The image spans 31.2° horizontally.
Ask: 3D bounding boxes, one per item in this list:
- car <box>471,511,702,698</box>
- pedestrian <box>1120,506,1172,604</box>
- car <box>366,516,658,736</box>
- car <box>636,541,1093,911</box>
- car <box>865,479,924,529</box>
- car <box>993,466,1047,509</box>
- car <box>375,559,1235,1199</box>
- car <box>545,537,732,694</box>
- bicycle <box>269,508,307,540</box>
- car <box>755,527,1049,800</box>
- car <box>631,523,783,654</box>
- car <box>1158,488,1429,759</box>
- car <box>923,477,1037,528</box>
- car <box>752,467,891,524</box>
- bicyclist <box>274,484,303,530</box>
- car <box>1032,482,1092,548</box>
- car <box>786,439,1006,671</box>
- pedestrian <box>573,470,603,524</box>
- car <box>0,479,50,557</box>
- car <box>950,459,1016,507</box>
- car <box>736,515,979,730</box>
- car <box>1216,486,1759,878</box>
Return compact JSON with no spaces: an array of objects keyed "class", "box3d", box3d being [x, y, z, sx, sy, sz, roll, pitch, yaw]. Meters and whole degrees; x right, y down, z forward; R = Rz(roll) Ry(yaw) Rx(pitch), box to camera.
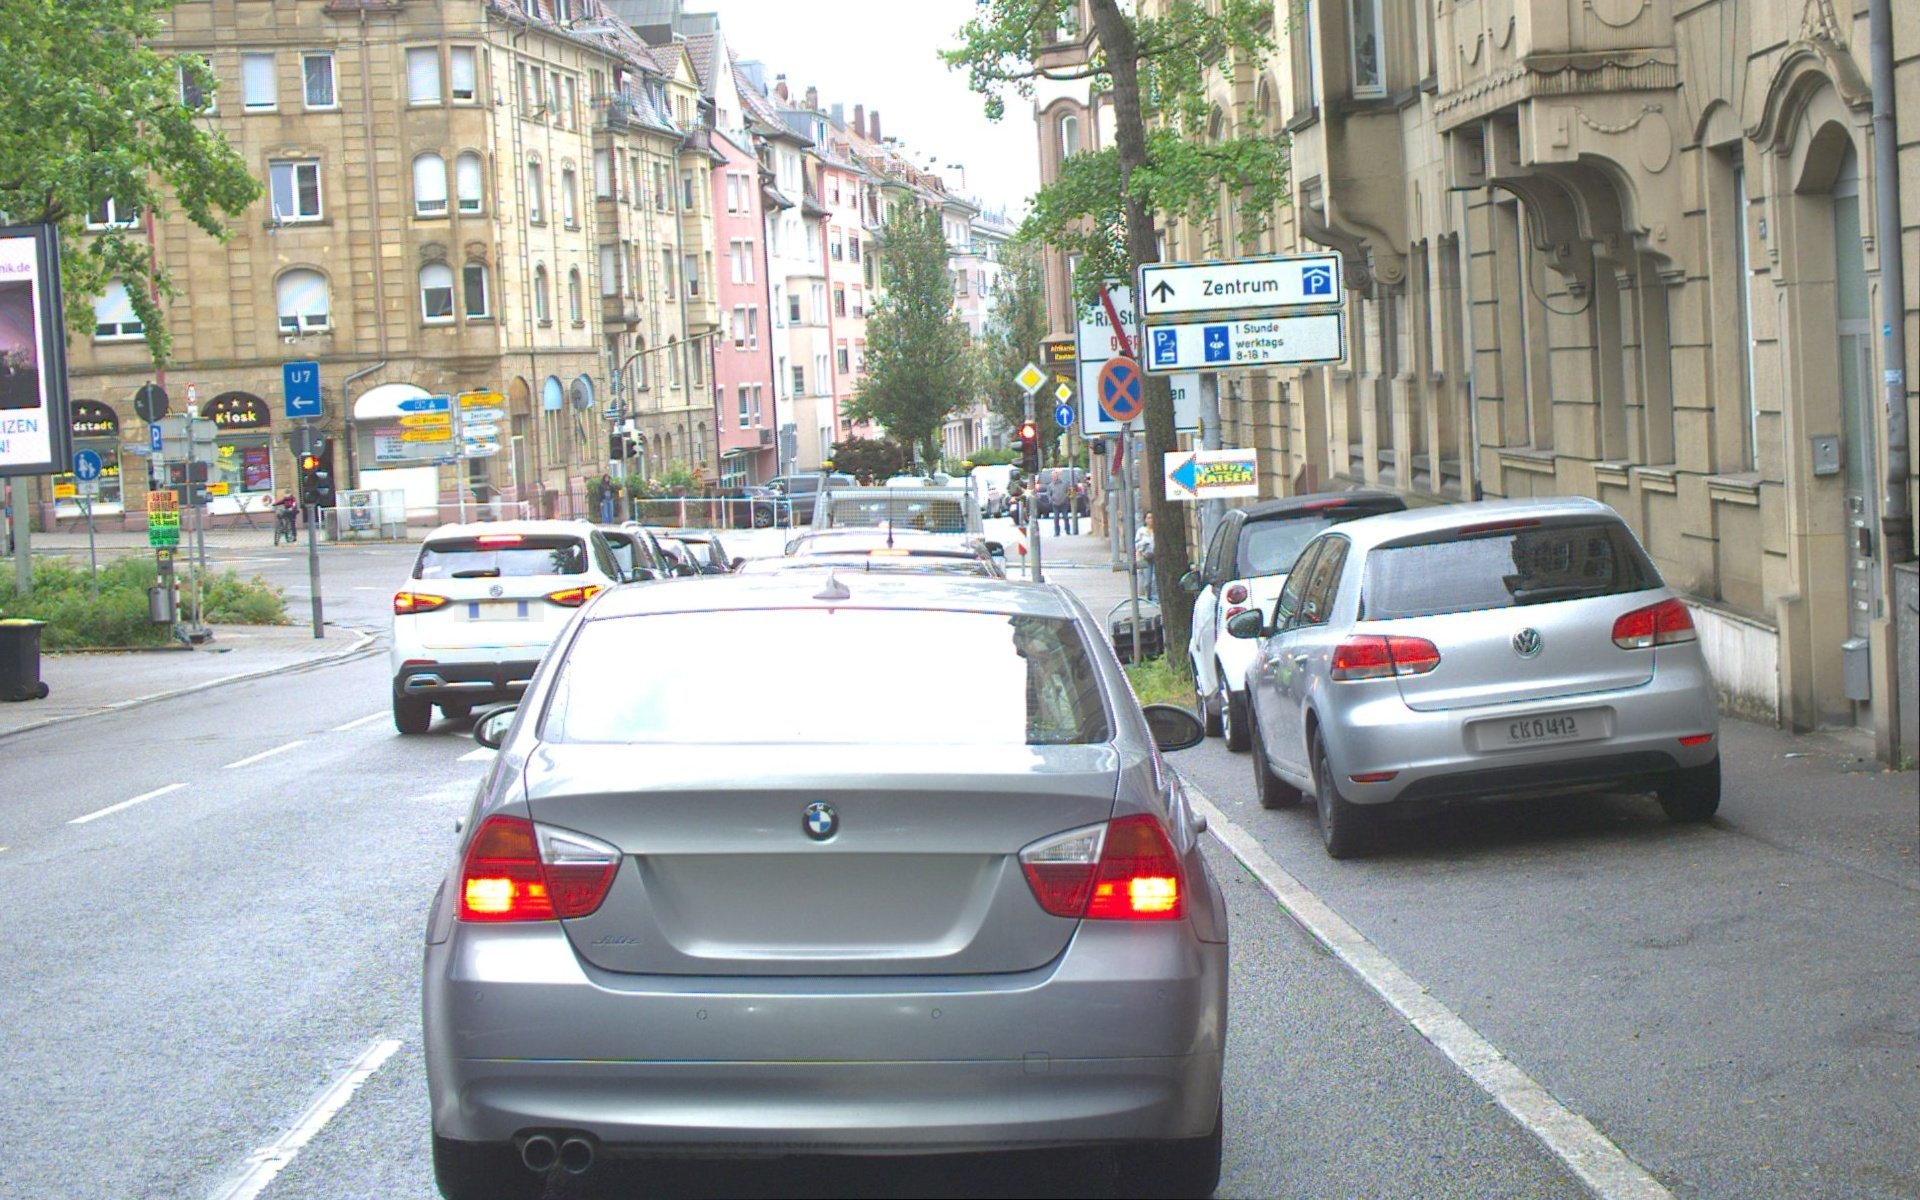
[{"class":"car","box3d":[-3.595,-0.007,33.707,1.759,1.702,4.000,-1,1,1]},{"class":"pedestrian","box3d":[3.001,-0.730,55.558,0.631,1.503,0.693,-6,1,-1]},{"class":"car","box3d":[-3.522,0.150,27.715,1.868,1.620,4.000,-1,1,-1]},{"class":"car","box3d":[-0.351,0.457,15.361,1.759,1.378,4.000,-1,1,1]},{"class":"car","box3d":[-2.006,-2.905,104.750,1.715,1.445,3.743,-2,1,-1]},{"class":"car","box3d":[1.778,-3.358,102.807,1.434,1.170,3.435,1,1,-2]},{"class":"car","box3d":[-0.277,0.625,8.361,1.623,1.378,3.615,-1,1,1]},{"class":"car","box3d":[-3.724,0.141,40.425,1.759,1.702,4.000,-1,1,1]},{"class":"bicycle","box3d":[-18.858,-2.130,96.477,0.573,0.855,1.521,1,1,9]},{"class":"car","box3d":[-0.297,0.305,20.869,1.595,1.459,4.000,-1,1,1]},{"class":"car","box3d":[-3.470,-0.192,47.731,1.759,1.702,4.000,-1,1,1]},{"class":"car","box3d":[2.143,0.110,22.689,1.299,1.537,2.976,-6,1,-1]},{"class":"car","box3d":[0.687,-3.230,114.123,1.997,1.573,3.993,1,1,32]},{"class":"car","box3d":[-5.214,-3.937,129.990,5.176,2.007,2.699,1,1,-1]},{"class":"bicyclist","box3d":[-18.847,-2.612,96.452,0.569,1.268,0.689,1,0,11]},{"class":"car","box3d":[3.317,-2.775,112.193,1.686,2.006,4.000,-3,2,-1]},{"class":"car","box3d":[-0.605,-0.443,33.328,1.993,2.099,4.000,0,1,-1]},{"class":"pedestrian","box3d":[-10.953,-3.035,101.206,0.732,1.572,0.528,-2,1,8]},{"class":"car","box3d":[-26.346,-2.089,91.111,3.986,2.006,2.001,-3,1,-7]},{"class":"car","box3d":[0.823,-4.093,120.645,1.994,1.573,3.999,1,1,5]},{"class":"car","box3d":[-0.746,0.119,27.366,1.759,1.562,4.000,-1,1,1]},{"class":"car","box3d":[2.341,0.294,16.279,1.759,1.446,4.000,-6,1,-1]}]
